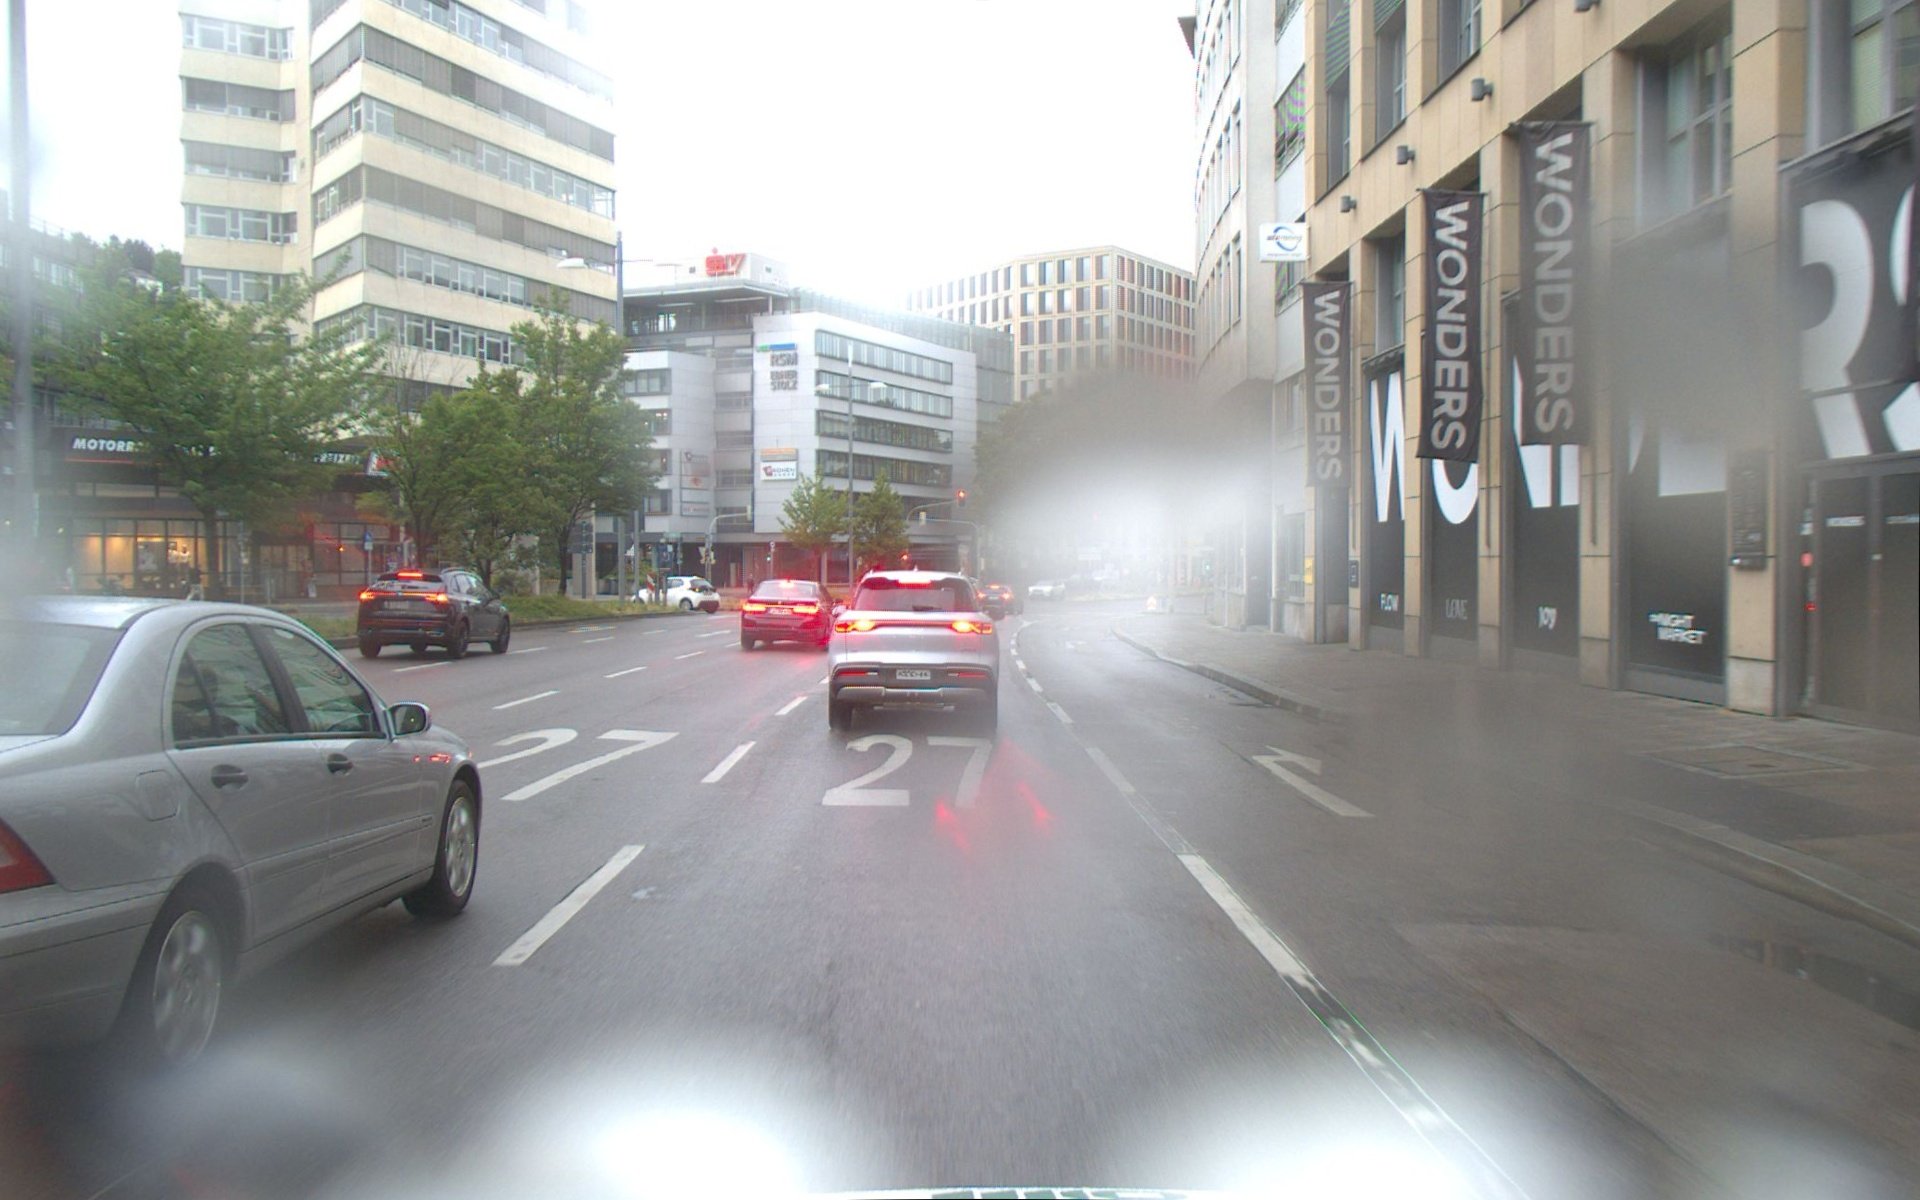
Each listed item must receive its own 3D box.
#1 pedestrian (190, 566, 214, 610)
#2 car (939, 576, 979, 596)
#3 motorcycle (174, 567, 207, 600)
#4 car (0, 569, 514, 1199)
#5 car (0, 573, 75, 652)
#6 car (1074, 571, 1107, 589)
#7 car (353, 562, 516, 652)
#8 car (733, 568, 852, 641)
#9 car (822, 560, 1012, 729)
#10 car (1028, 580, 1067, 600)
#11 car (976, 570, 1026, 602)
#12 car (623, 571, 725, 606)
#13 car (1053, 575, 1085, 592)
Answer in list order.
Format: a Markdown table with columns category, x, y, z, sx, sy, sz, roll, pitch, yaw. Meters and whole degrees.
| category | x | y | z | sx | sy | sz | roll | pitch | yaw |
| --- | --- | --- | --- | --- | --- | --- | --- | --- | --- |
| pedestrian | -30.541 | -0.487 | 66.660 | 0.746 | 1.743 | 0.585 | 0 | 0 | -39 |
| car | -0.078 | -1.110 | 133.597 | 1.550 | 1.565 | 3.995 | 1 | 1 | 27 |
| motorcycle | -32.405 | -0.699 | 69.635 | 0.700 | 1.356 | 1.792 | 0 | 0 | -44 |
| car | -2.984 | 0.653 | 5.843 | 1.638 | 1.505 | 4.360 | 1 | 0 | -1 |
| car | -18.666 | 0.234 | 31.264 | 1.590 | 1.478 | 4.162 | 0 | 0 | 0 |
| car | 13.156 | -1.974 | 167.113 | 1.822 | 1.766 | 3.993 | 1 | 1 | 29 |
| car | -9.184 | 0.117 | 29.213 | 1.738 | 1.482 | 3.998 | 0 | 0 | -2 |
| car | -3.668 | 0.112 | 36.994 | 1.833 | 1.505 | 4.880 | 1 | 0 | 4 |
| car | -0.464 | 0.430 | 18.440 | 1.862 | 1.649 | 3.999 | 1 | 0 | -1 |
| car | 7.034 | -0.820 | 132.648 | 1.551 | 1.565 | 3.993 | 1 | 1 | 29 |
| car | 2.148 | -0.733 | 85.803 | 1.773 | 1.606 | 4.003 | 1 | 0 | 14 |
| car | -11.716 | -0.477 | 67.737 | 3.908 | 1.365 | 1.657 | 1 | 0 | 26 |
| car | 10.572 | -1.588 | 159.845 | 1.551 | 1.565 | 3.993 | 1 | 1 | 29 |
